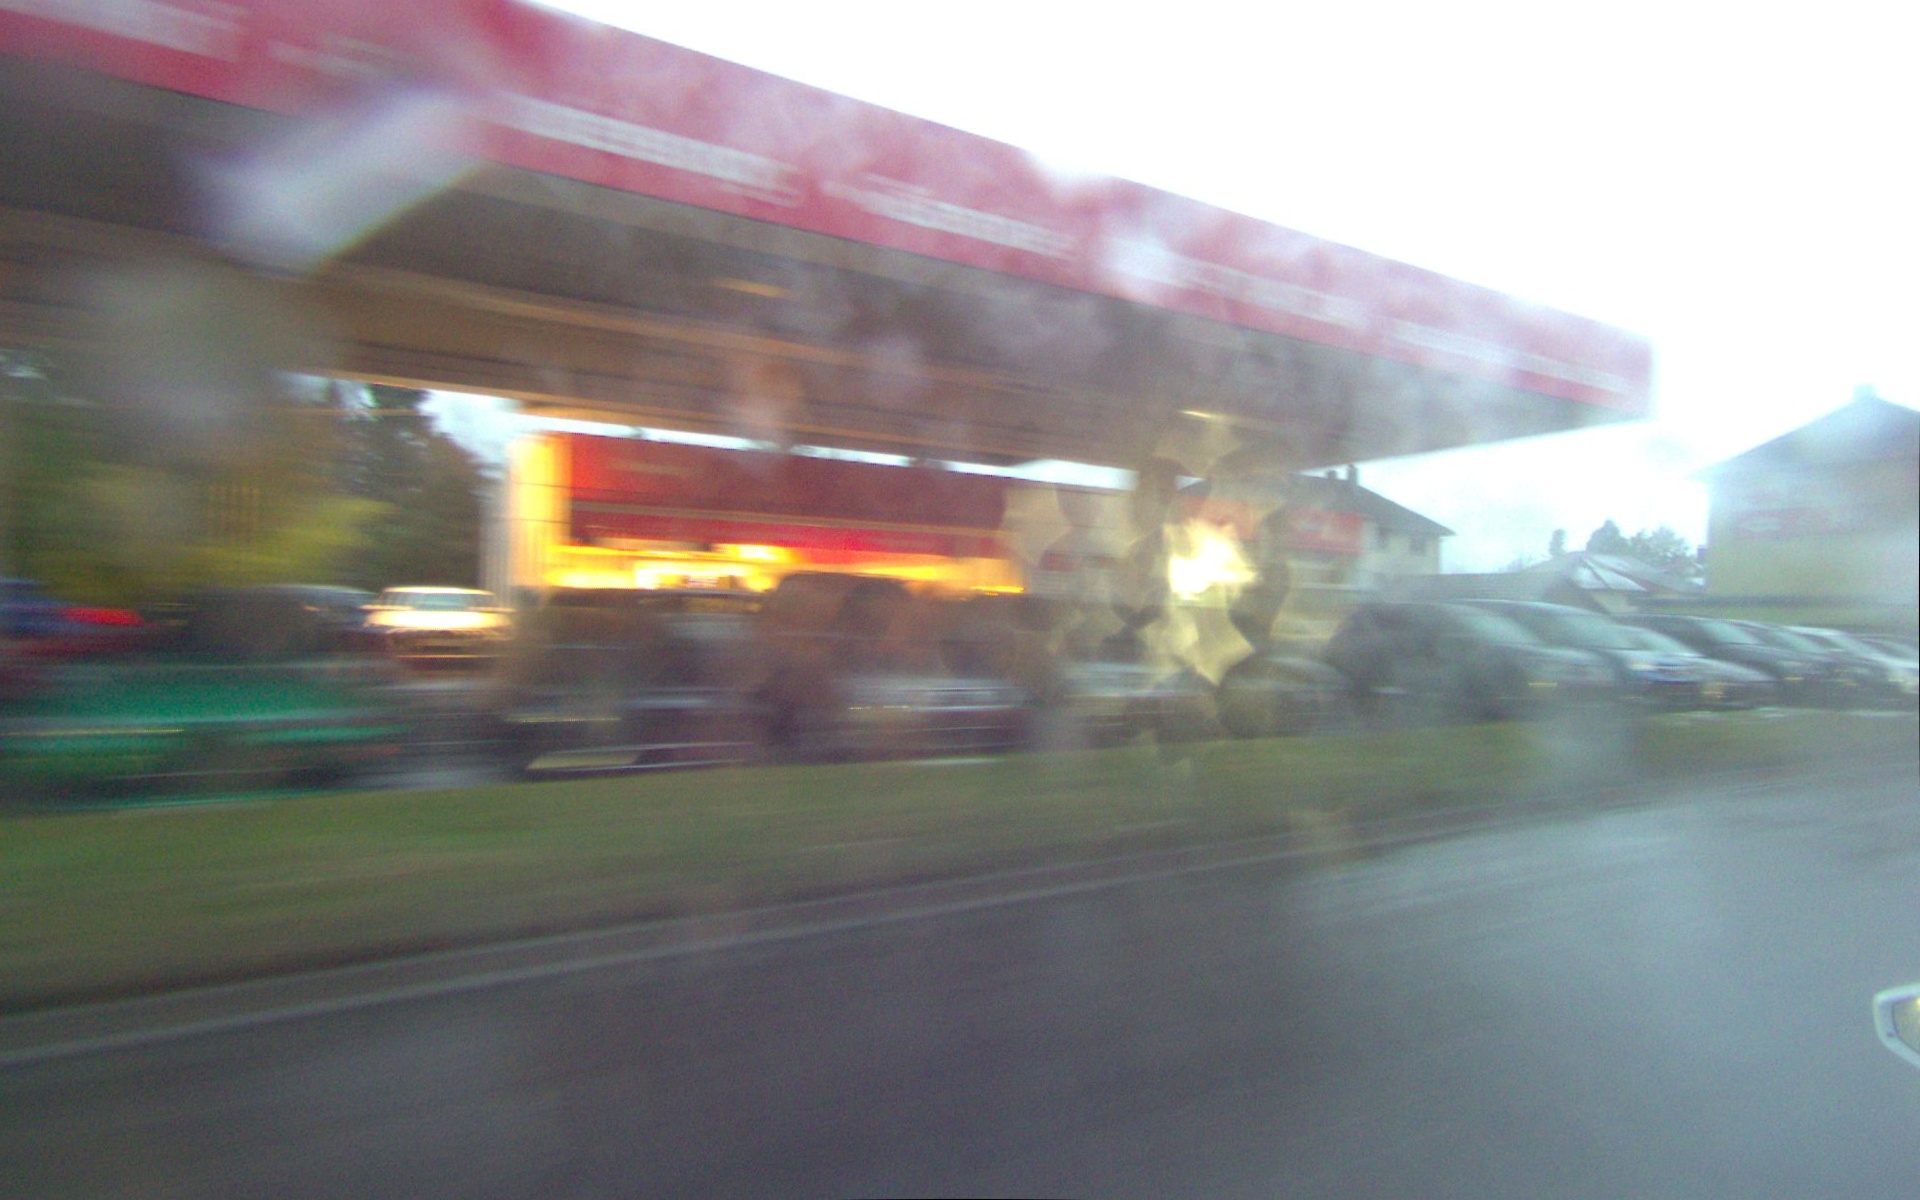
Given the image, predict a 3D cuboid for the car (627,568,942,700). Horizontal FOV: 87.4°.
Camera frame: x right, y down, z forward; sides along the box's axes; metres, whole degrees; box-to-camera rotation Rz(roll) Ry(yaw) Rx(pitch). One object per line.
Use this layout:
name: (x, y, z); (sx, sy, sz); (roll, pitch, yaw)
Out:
car: (-2.517, 0.477, 14.595); (4.099, 1.679, 1.879); (2, 0, -30)

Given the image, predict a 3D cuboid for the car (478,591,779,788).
car: (-3.177, 0.626, 9.079); (1.818, 1.363, 3.839); (1, 0, -30)

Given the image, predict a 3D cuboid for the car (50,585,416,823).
car: (-5.379, 0.603, 7.888); (1.818, 1.363, 3.839); (1, 0, -30)

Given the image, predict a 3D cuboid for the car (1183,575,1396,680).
car: (6.573, 0.554, 19.963); (3.954, 1.894, 1.876); (2, -1, -31)

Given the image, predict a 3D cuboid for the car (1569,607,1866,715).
car: (15.091, 1.122, 20.276); (2.111, 1.685, 4.256); (2, 2, -29)

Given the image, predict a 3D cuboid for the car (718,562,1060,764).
car: (-0.988, 0.531, 10.731); (1.958, 1.679, 4.259); (1, 0, -30)

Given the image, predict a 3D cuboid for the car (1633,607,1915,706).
car: (17.399, 1.127, 21.702); (1.976, 1.685, 4.256); (2, 2, -29)

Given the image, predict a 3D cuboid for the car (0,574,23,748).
car: (-7.905, 0.489, 6.523); (1.818, 1.424, 3.839); (1, 0, -30)

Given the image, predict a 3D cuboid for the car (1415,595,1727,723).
car: (10.648, 0.927, 17.848); (1.976, 1.787, 4.256); (2, 2, -29)

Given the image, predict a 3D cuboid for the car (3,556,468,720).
car: (-7.862, 0.363, 11.410); (3.995, 1.575, 1.859); (1, 1, -30)

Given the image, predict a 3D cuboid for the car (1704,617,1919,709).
car: (19.969, 1.374, 22.967); (1.976, 1.649, 4.256); (2, 2, -29)

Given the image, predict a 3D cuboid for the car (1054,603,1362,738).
car: (3.123, 0.819, 13.381); (1.818, 1.461, 3.839); (1, 0, -30)

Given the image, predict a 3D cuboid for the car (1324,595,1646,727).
car: (8.427, 0.878, 16.551); (1.976, 1.685, 4.256); (2, 2, -29)

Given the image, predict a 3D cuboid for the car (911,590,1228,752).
car: (1.113, 0.703, 11.929); (1.818, 1.580, 3.839); (1, 0, -30)

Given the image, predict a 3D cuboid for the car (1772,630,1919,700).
car: (22.210, 1.556, 24.087); (1.699, 1.447, 3.876); (2, 0, -29)

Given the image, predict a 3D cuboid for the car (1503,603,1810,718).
car: (12.891, 1.026, 18.898); (1.976, 1.685, 4.256); (2, 2, -29)
